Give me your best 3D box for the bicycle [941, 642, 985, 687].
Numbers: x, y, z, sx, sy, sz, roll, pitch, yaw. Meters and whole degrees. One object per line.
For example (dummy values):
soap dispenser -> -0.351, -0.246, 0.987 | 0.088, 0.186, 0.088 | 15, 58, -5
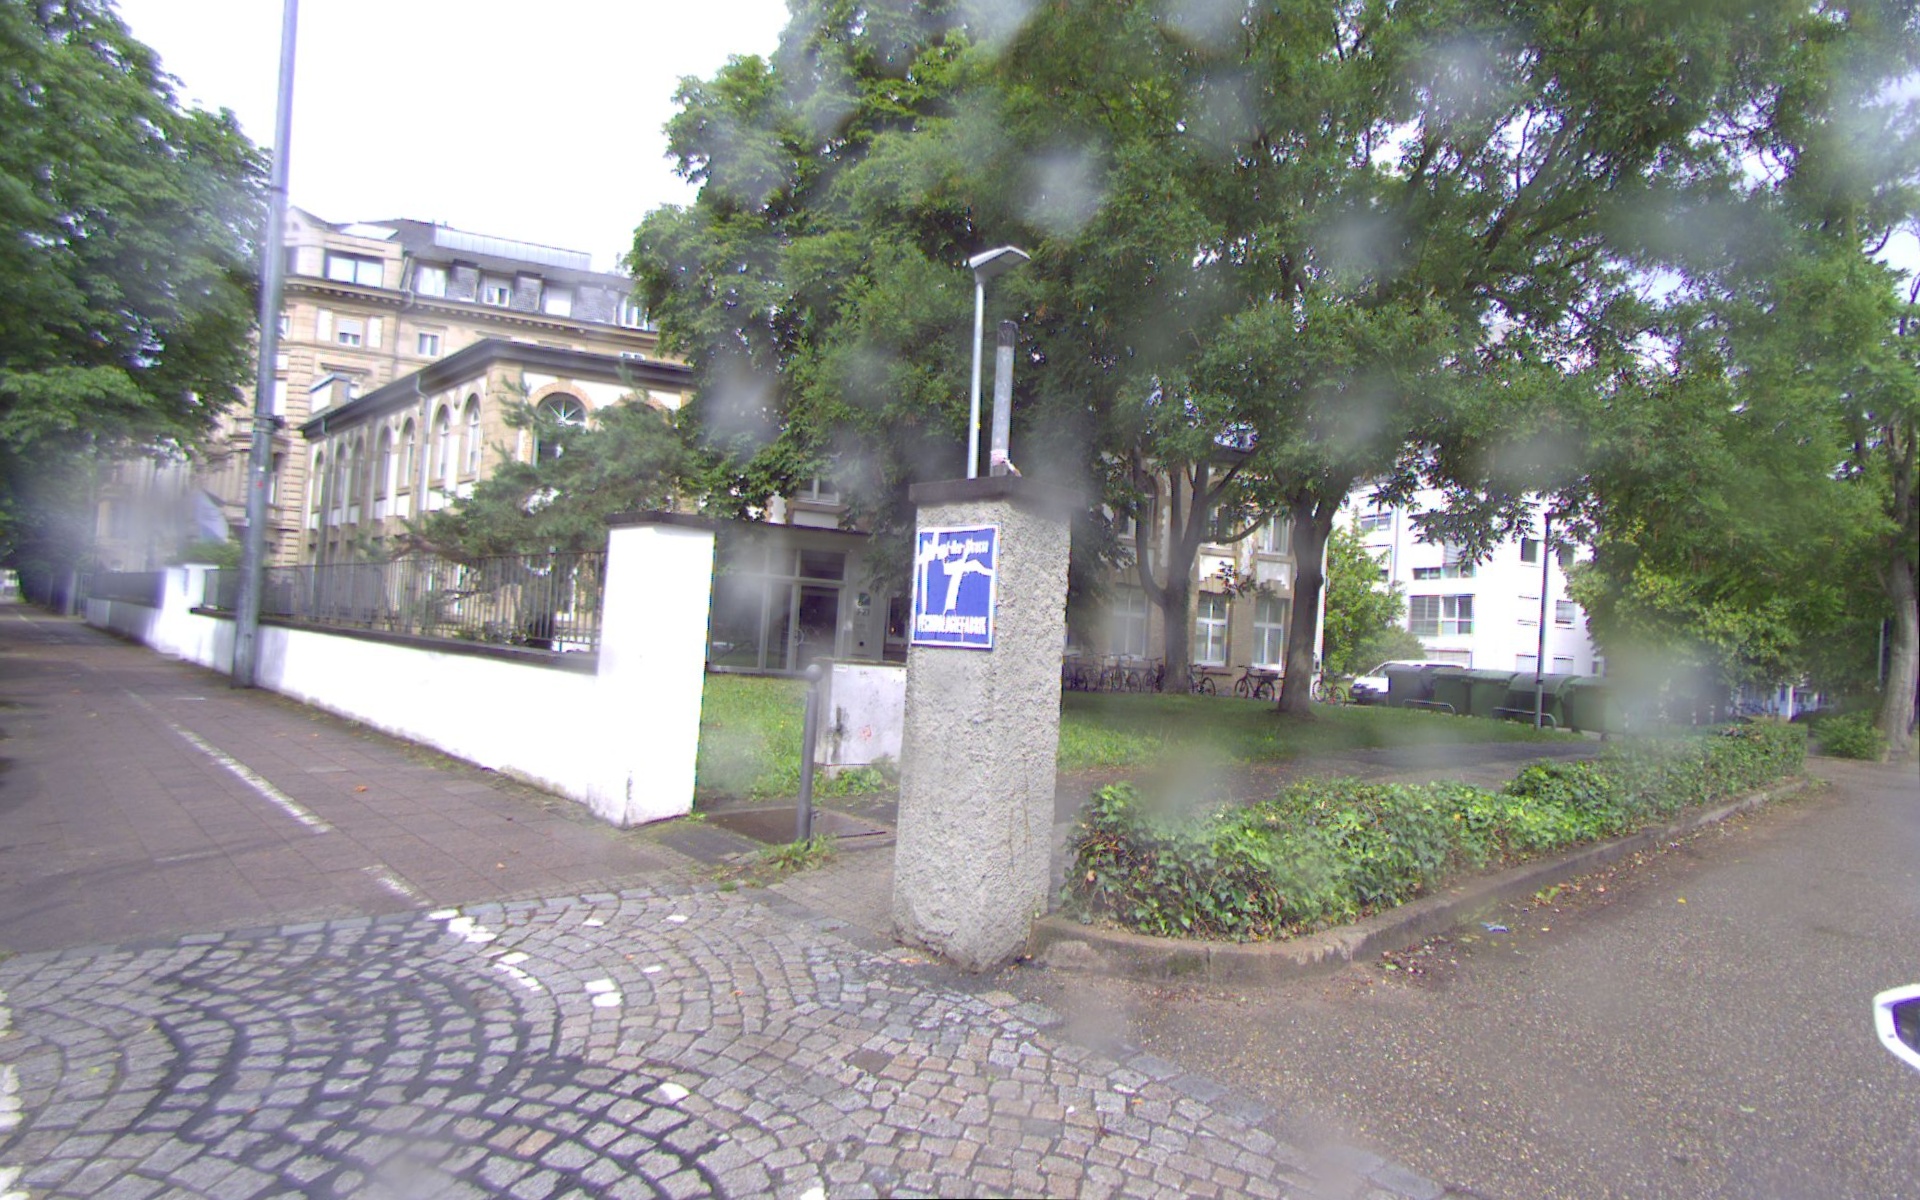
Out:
bicycle -> 0.068, 1.739, 27.384 | 0.607, 1.130, 1.920 | 3, -3, -17

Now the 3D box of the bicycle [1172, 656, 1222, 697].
bicycle -> 7.064, 2.254, 29.956 | 0.607, 1.130, 1.782 | 3, -3, -17

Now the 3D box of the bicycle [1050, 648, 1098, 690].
bicycle -> 3.246, 1.948, 28.702 | 0.607, 1.130, 1.920 | 3, -3, -17

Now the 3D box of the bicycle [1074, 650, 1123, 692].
bicycle -> 3.950, 2.020, 28.844 | 0.607, 1.130, 1.920 | 3, -3, -17

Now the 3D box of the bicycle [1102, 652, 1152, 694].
bicycle -> 4.825, 2.099, 29.203 | 0.607, 1.130, 1.920 | 3, -3, -17

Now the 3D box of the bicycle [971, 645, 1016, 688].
bicycle -> 0.915, 1.832, 27.887 | 0.607, 1.130, 1.920 | 3, -3, -17

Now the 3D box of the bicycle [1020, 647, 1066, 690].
bicycle -> 2.326, 1.905, 28.332 | 0.607, 1.130, 1.920 | 3, -3, -17

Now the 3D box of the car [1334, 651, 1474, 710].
car -> 17.651, 3.195, 39.957 | 4.810, 1.950, 2.093 | 6, -4, -15

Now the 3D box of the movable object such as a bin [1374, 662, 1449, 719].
movable object such as a bin -> 12.895, 2.583, 28.737 | 1.151, 1.502, 1.586 | 3, -3, -22

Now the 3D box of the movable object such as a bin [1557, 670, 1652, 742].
movable object such as a bin -> 14.772, 2.406, 23.053 | 1.084, 1.492, 1.484 | 5, -3, -7

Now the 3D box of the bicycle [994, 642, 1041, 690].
bicycle -> 1.594, 1.815, 28.036 | 0.607, 1.192, 1.919 | 4, -1, -17

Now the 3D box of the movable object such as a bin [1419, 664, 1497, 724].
movable object such as a bin -> 13.507, 2.544, 27.289 | 1.151, 1.502, 1.489 | 3, -3, -22

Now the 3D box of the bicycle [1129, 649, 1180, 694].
bicycle -> 5.699, 2.074, 29.482 | 0.607, 1.240, 1.920 | 3, -3, -17

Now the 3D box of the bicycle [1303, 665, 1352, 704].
bicycle -> 11.497, 2.626, 31.454 | 0.607, 1.130, 1.515 | 3, -3, -17

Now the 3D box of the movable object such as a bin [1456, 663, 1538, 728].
movable object such as a bin -> 13.798, 2.435, 25.830 | 1.151, 1.502, 1.396 | 5, -2, -21

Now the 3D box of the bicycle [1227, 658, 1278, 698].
bicycle -> 8.902, 2.375, 30.648 | 0.607, 1.130, 1.782 | 3, -3, -17

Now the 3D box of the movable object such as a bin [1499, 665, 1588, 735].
movable object such as a bin -> 14.198, 2.413, 24.465 | 1.152, 1.502, 1.394 | 5, -1, -24
